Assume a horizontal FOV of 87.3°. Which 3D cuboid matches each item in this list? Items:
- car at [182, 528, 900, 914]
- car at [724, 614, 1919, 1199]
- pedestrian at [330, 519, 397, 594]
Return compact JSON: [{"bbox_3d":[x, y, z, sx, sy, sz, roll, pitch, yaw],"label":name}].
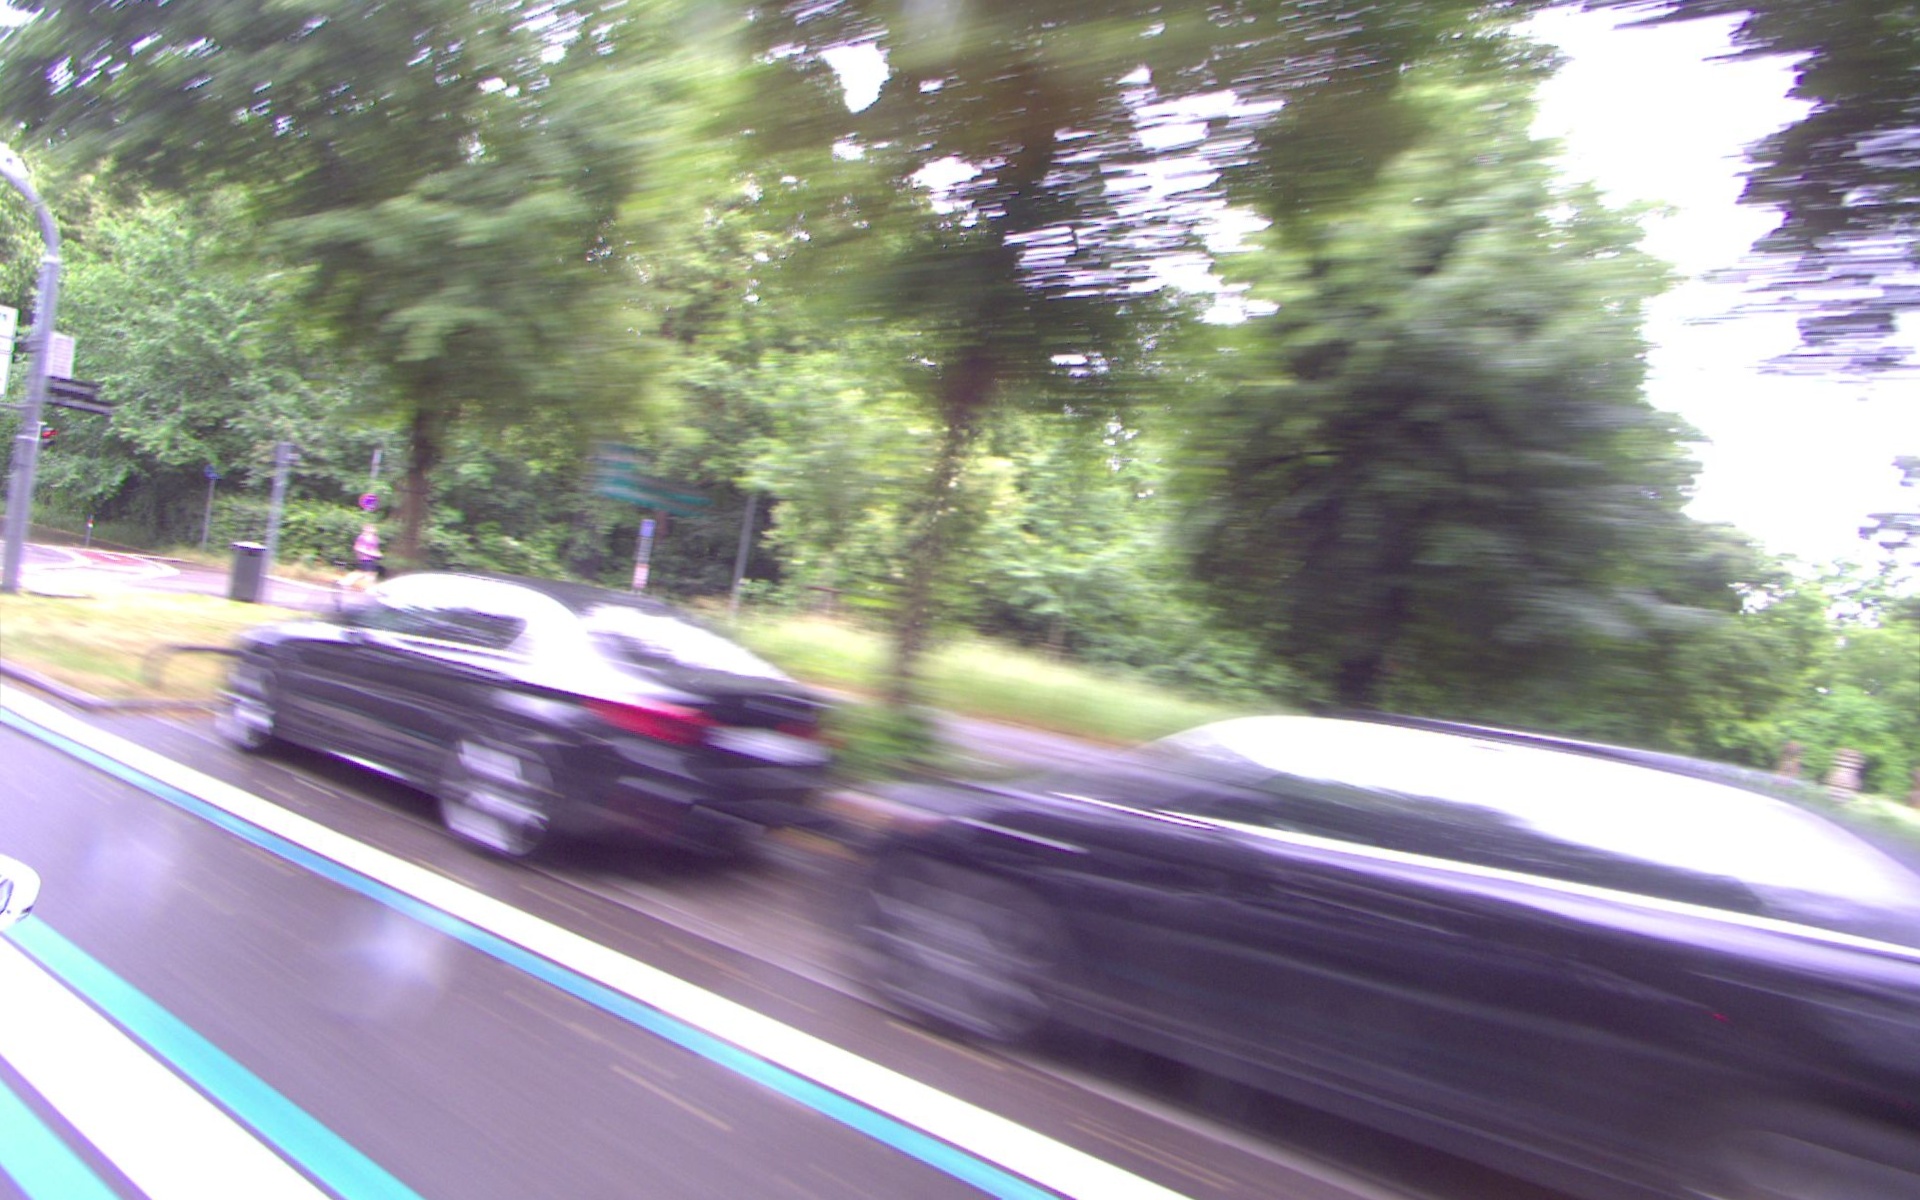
[{"bbox_3d":[-2.914,0.555,6.564,4.777,1.456,1.761,7,-2,32],"label":"car"},{"bbox_3d":[1.550,1.109,3.775,4.682,1.436,1.704,7,-3,29],"label":"car"},{"bbox_3d":[-15.399,-1.107,25.998,1.129,1.753,0.886,8,-1,-18],"label":"pedestrian"}]
